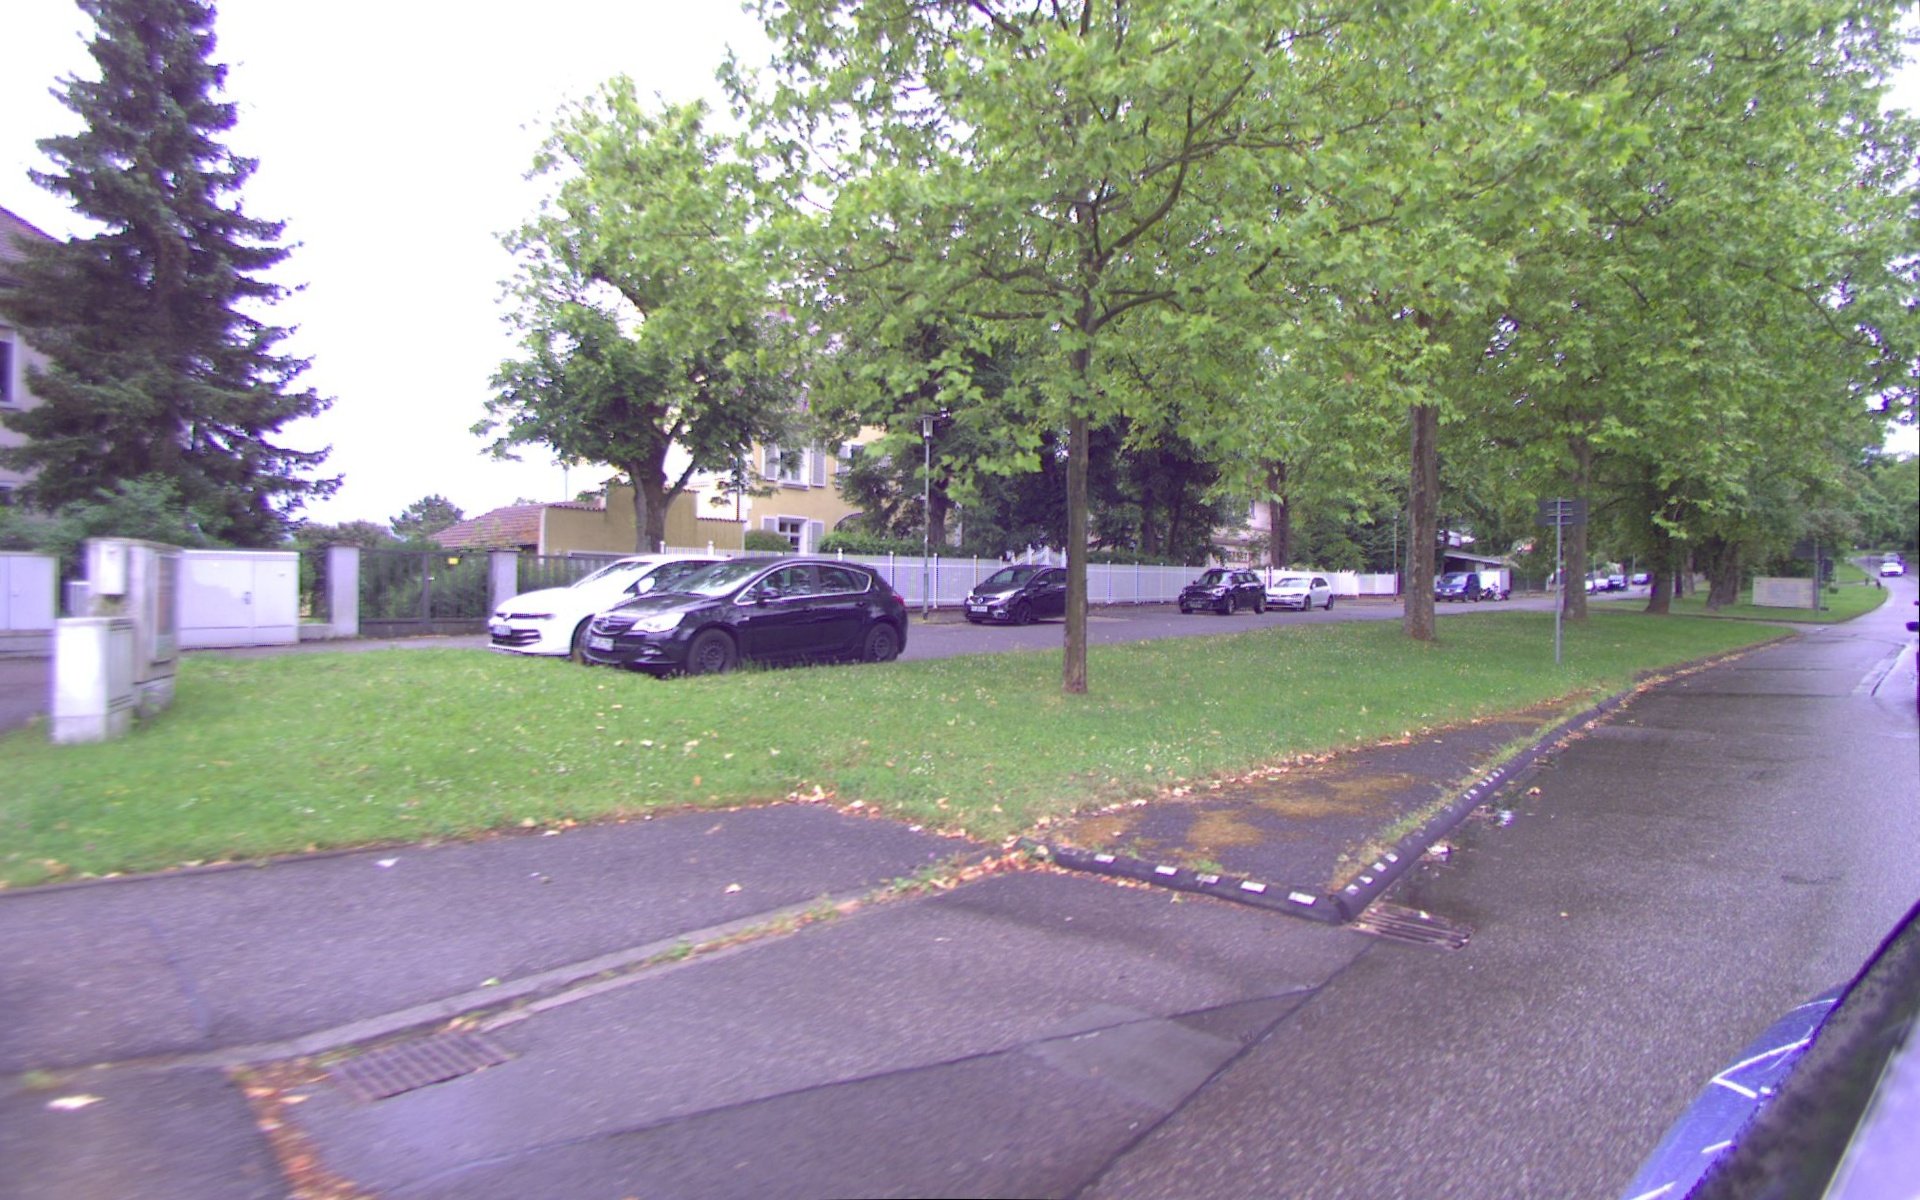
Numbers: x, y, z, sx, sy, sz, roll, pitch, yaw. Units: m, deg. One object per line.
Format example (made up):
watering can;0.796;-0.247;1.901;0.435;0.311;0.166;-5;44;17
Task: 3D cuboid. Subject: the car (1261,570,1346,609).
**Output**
car;14.128;-0.442;41.535;1.990;1.467;4.066;-1;0;40

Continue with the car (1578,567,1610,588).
car;62.960;-2.290;100.554;1.993;2.038;3.939;2;2;43

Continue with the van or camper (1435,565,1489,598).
van or camper;30.343;-1.128;61.114;1.989;1.831;4.710;-1;0;38

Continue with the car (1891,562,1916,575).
car;114.823;-3.813;123.140;3.998;1.498;1.824;-2;0;-42

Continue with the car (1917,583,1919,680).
car;13.091;0.539;12.394;1.819;1.498;4.007;-1;0;42

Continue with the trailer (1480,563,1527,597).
trailer;36.812;-1.355;68.477;1.764;2.143;5.118;-2;0;40

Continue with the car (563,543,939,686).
car;-2.472;0.068;12.887;1.764;1.489;4.528;3;3;42

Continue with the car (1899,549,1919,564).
car;137.454;-6.330;146.599;1.992;2.039;4.506;1;1;41

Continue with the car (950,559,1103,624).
car;1.815;-0.235;26.432;1.757;1.490;4.295;-4;-1;39

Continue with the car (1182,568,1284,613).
car;9.697;-0.357;35.793;1.990;1.489;4.066;-1;0;40

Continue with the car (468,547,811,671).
car;-4.400;0.029;14.424;1.844;1.489;4.360;2;3;42
